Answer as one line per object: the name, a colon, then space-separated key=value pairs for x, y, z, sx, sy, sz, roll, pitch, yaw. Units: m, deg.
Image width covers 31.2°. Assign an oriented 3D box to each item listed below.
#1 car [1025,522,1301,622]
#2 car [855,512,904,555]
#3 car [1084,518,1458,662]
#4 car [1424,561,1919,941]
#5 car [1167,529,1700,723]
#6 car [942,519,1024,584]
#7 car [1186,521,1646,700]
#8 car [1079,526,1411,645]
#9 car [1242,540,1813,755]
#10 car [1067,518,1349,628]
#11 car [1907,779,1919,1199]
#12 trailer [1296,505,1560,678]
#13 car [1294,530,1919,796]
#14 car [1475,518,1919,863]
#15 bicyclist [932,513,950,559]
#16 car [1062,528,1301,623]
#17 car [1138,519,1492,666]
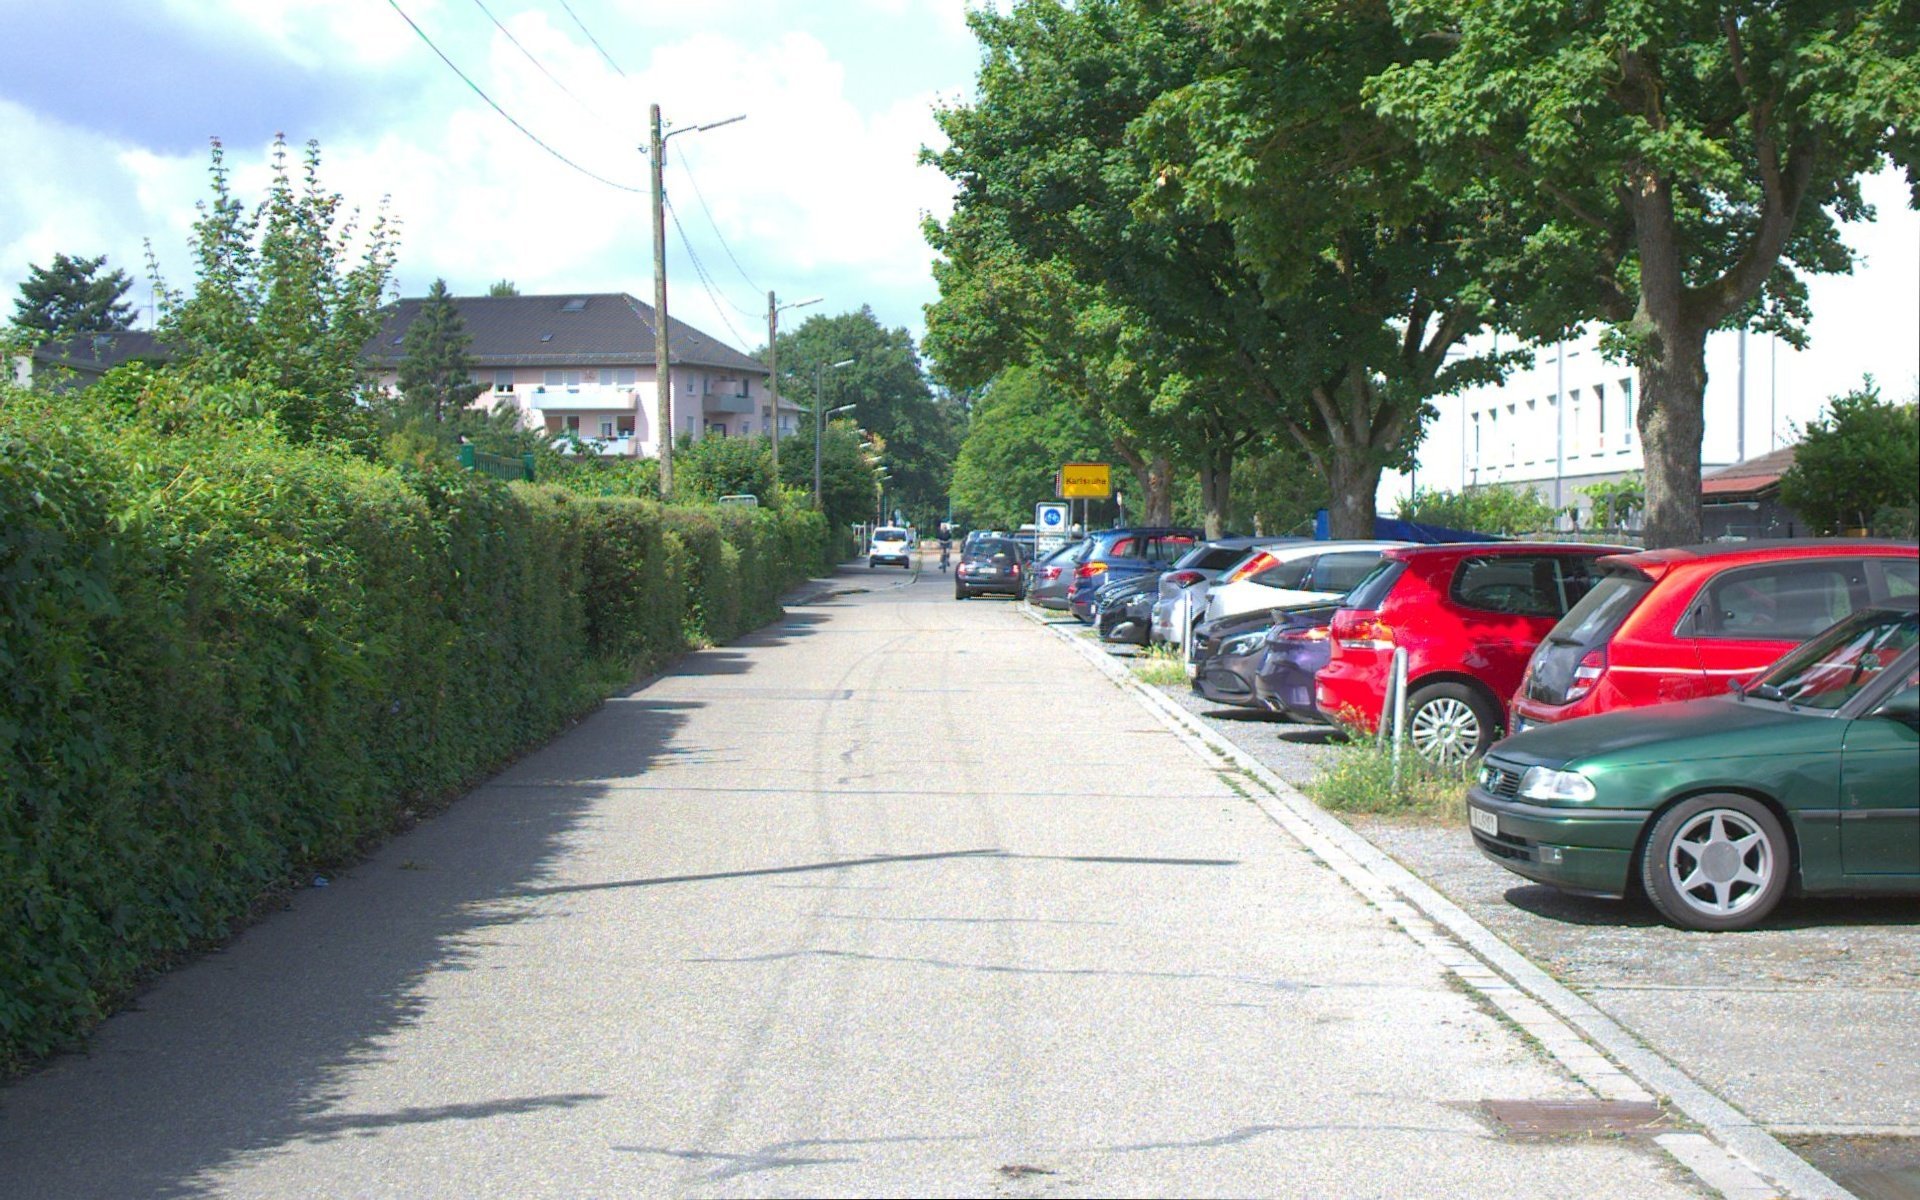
car: x=3.449 y=-0.485 z=59.037 sx=4.548 sy=1.573 sz=1.809 roll=2 pitch=1 yaw=-1
car: x=-3.544 y=-2.934 z=152.356 sx=1.903 sy=1.808 sz=4.000 roll=2 pitch=1 yaw=2
car: x=3.731 y=-0.133 z=41.797 sx=4.302 sy=1.588 sz=2.000 roll=2 pitch=1 yaw=-1
car: x=4.243 y=0.611 z=14.325 sx=4.238 sy=1.423 sz=1.909 roll=2 pitch=1 yaw=-4
car: x=3.863 y=0.199 z=28.528 sx=4.065 sy=1.450 sz=1.870 roll=2 pitch=1 yaw=-2
car: x=0.584 y=-1.172 z=83.746 sx=1.663 sy=1.501 sz=3.999 roll=2 pitch=1 yaw=4
car: x=4.189 y=0.077 z=32.133 sx=4.065 sy=1.506 sz=1.958 roll=2 pitch=1 yaw=3
car: x=3.880 y=-0.213 z=47.366 sx=4.335 sy=1.487 sz=1.976 roll=2 pitch=1 yaw=-1
car: x=4.097 y=0.321 z=25.362 sx=3.910 sy=1.419 sz=1.958 roll=2 pitch=1 yaw=3
car: x=3.751 y=-0.412 z=52.442 sx=4.154 sy=1.632 sz=1.879 roll=0 pitch=1 yaw=0
car: x=4.325 y=0.731 z=7.103 sx=4.183 sy=1.499 sz=1.878 roll=2 pitch=1 yaw=1
trailer: x=4.915 y=-0.106 z=36.326 sx=2.449 sy=1.714 sz=1.518 roll=2 pitch=2 yaw=-4
car: x=4.186 y=0.370 z=21.848 sx=3.987 sy=1.514 sz=1.854 roll=2 pitch=1 yaw=3
car: x=4.607 y=0.439 z=17.047 sx=3.764 sy=1.568 sz=1.870 roll=2 pitch=1 yaw=-1
bicyclist: x=-0.769 y=-2.579 z=139.147 sx=0.659 sy=1.846 sz=1.043 roll=-1 pitch=1 yaw=2
car: x=3.619 y=-0.418 z=56.628 sx=3.809 sy=1.527 sz=1.762 roll=0 pitch=1 yaw=0
car: x=4.009 y=-0.095 z=39.214 sx=3.723 sy=1.534 sz=1.850 roll=2 pitch=1 yaw=-3
